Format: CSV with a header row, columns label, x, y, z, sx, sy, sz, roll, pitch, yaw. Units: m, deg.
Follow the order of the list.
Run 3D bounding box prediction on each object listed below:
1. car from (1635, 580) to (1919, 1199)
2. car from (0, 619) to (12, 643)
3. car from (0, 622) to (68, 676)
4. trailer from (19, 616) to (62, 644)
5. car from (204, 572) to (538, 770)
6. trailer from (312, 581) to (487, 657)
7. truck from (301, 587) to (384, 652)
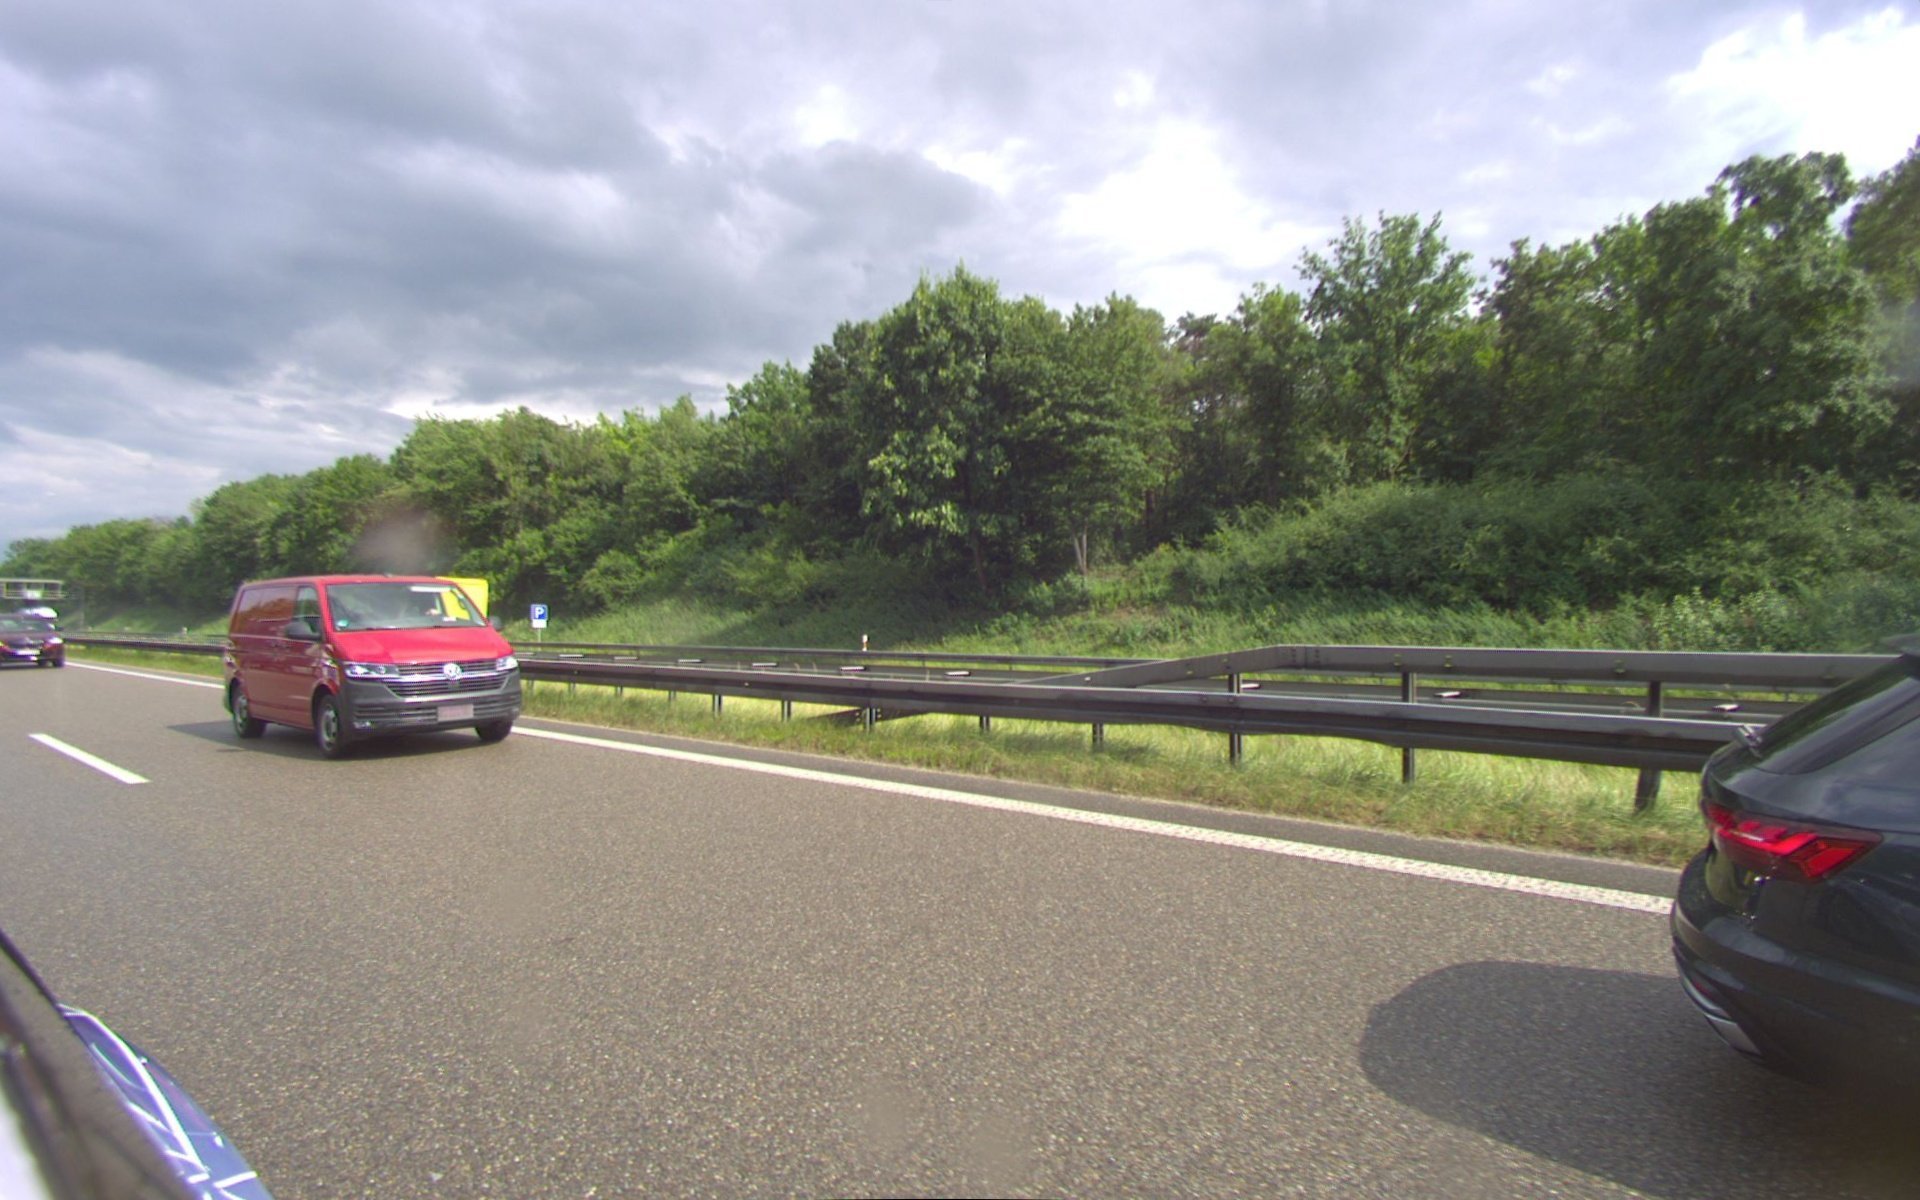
label,x,y,z,sx,sy,sz,roll,pitch,yaw
car,4.109,0.635,1.645,4.836,1.429,1.776,-1,0,41
car,-118.478,3.793,124.330,6.784,2.892,2.240,-1,0,41
car,-29.363,1.473,31.309,4.836,1.508,1.983,-1,0,41
trailer,-138.589,4.480,152.411,17.947,3.860,2.959,-1,0,42
car,-7.057,0.698,11.884,4.836,1.880,1.902,-1,0,41
trailer,-31.078,1.012,55.462,16.665,3.672,2.695,-1,0,40
truck,-36.894,1.124,60.445,5.327,3.692,2.695,-1,0,40
